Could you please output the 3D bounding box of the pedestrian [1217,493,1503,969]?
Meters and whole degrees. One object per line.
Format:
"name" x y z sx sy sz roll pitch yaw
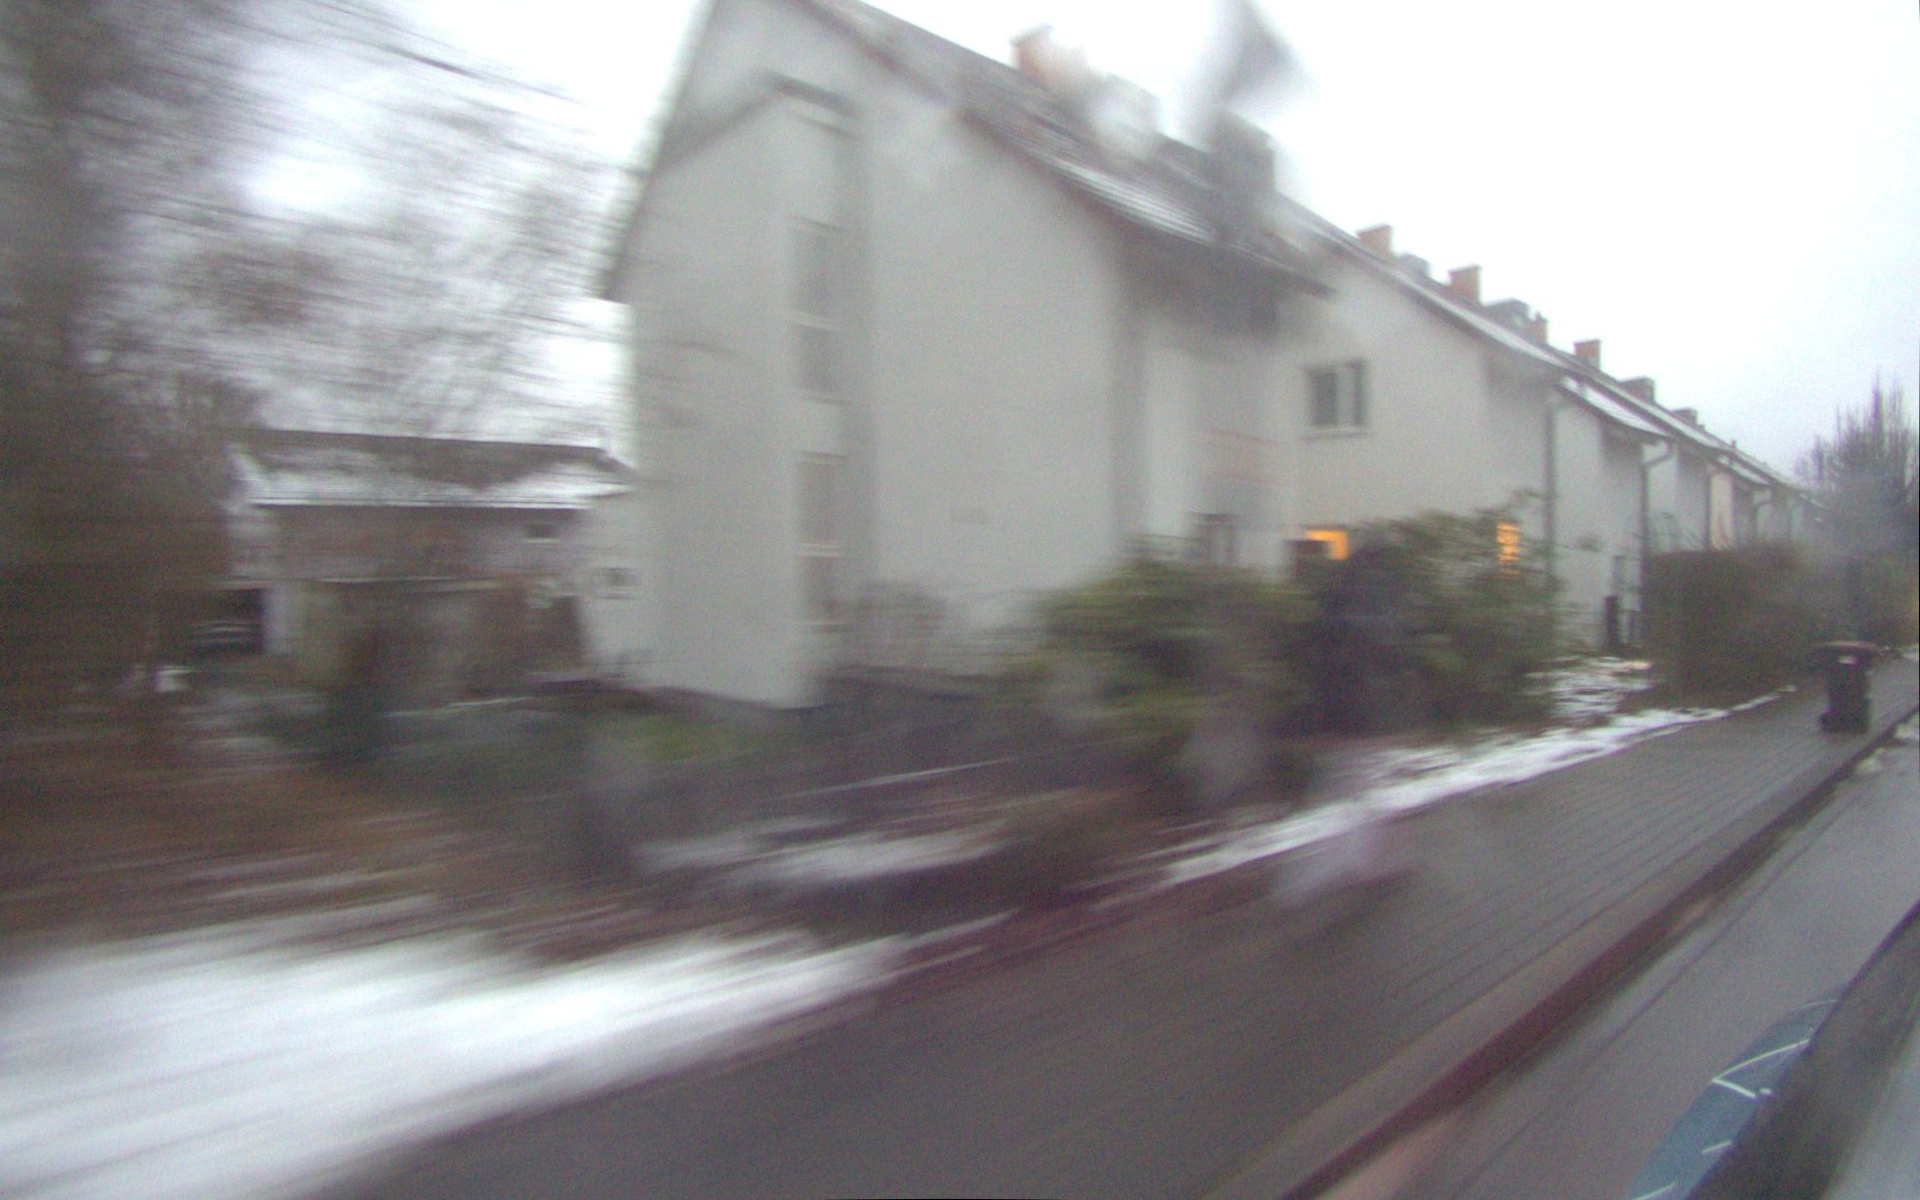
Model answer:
"pedestrian" 1.653 0.454 4.166 0.954 1.676 0.744 0 0 -42
